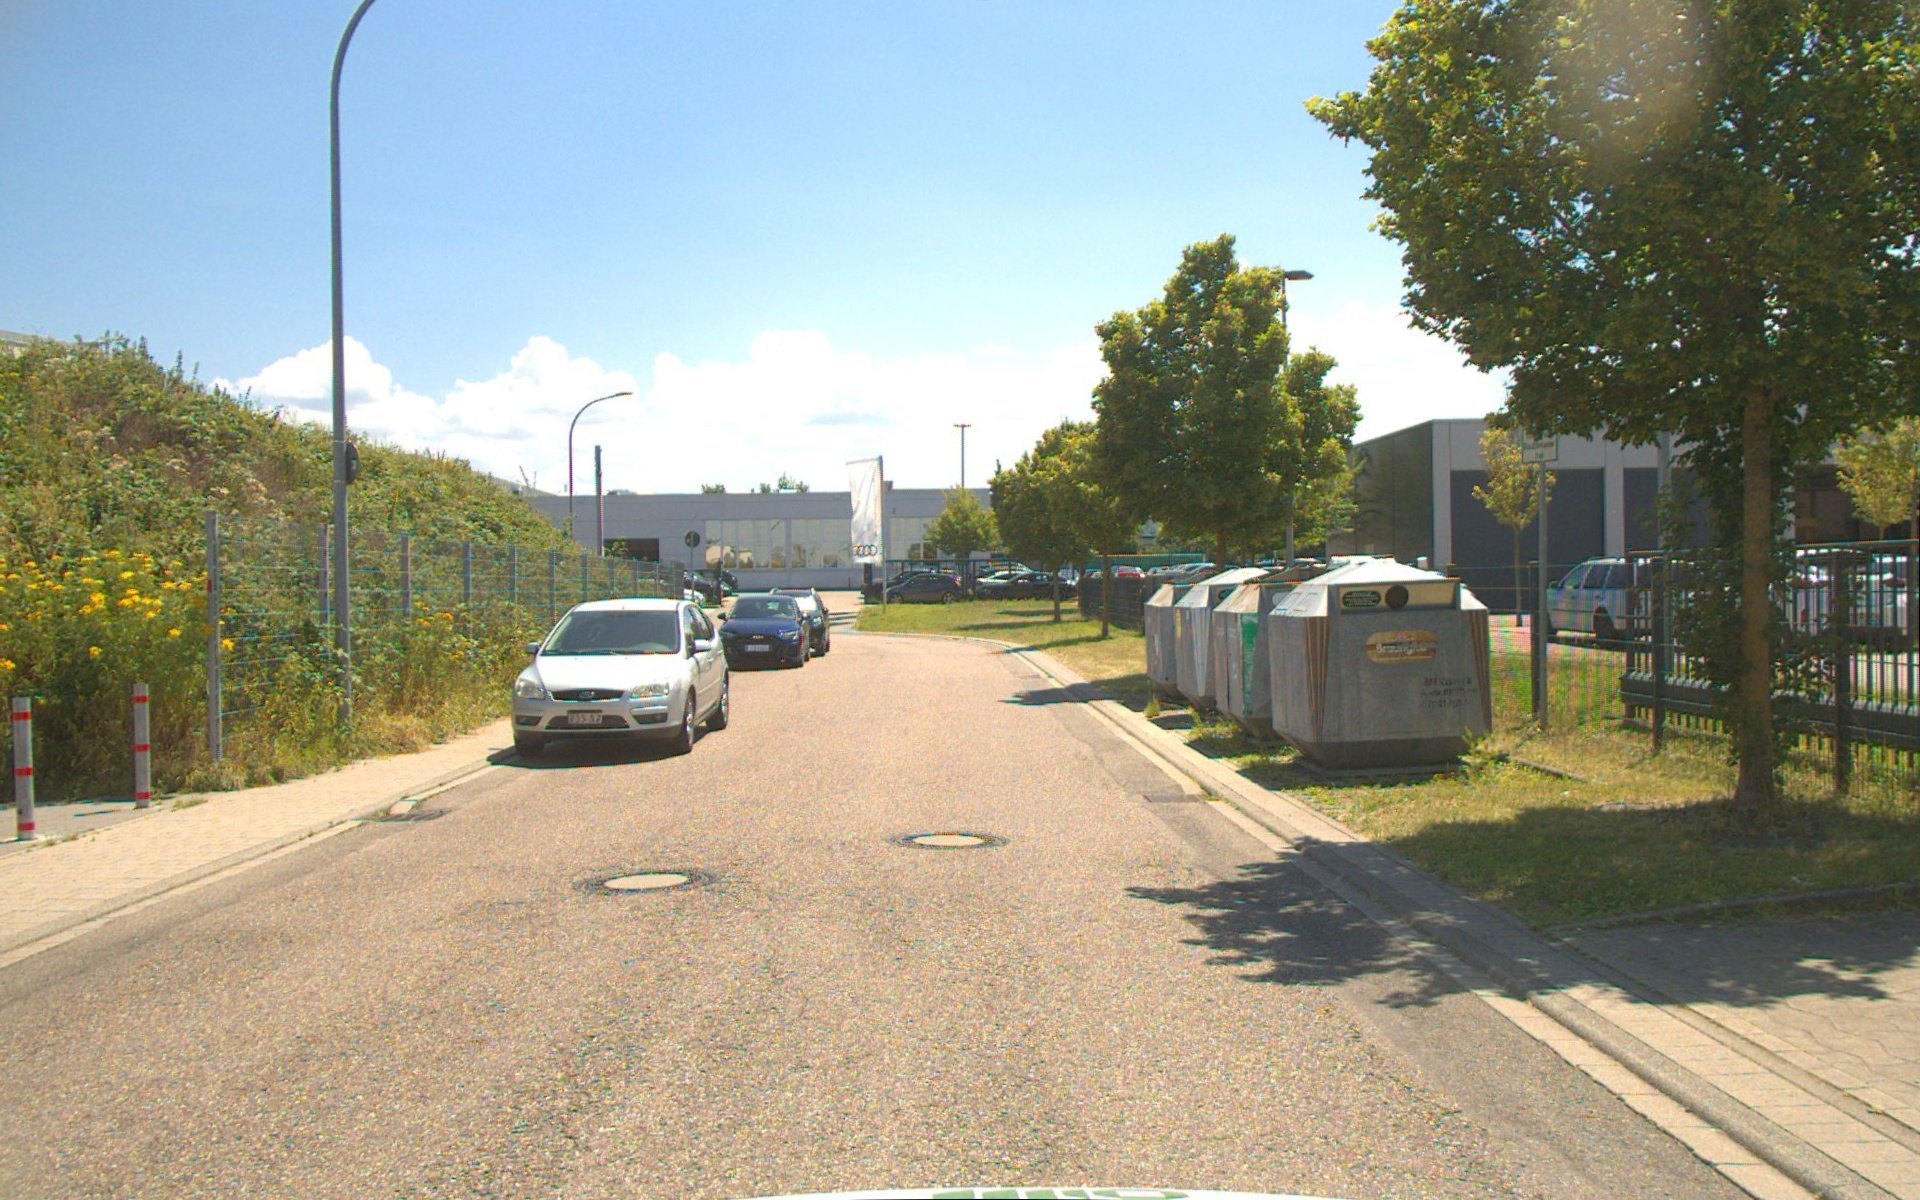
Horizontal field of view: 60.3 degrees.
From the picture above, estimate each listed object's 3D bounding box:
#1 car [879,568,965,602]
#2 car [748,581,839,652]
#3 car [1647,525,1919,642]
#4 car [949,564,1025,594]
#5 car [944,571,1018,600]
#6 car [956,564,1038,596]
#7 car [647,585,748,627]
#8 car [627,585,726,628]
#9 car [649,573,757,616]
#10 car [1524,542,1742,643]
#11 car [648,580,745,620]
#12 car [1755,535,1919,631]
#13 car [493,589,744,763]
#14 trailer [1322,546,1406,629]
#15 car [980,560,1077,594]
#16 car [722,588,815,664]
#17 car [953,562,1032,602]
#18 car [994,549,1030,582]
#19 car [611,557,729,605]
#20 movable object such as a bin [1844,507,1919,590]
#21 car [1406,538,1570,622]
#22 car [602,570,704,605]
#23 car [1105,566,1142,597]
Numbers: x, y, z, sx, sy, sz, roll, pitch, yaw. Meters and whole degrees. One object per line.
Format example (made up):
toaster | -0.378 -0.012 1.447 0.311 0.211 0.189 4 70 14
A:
car | -1.793 -0.677 77.183 3.907 1.423 1.999 -1 -2 -3
car | -3.966 0.369 39.996 1.796 1.573 4.264 -2 0 -1
car | 11.550 -0.168 23.360 1.754 1.458 4.139 -1 -1 -3
car | 1.410 -1.100 87.477 3.907 1.423 1.999 -1 -2 -3
car | 1.132 -0.778 90.889 3.907 1.423 1.999 -1 -2 -3
car | 1.825 -0.970 81.790 3.907 1.423 1.999 -1 -2 -3
car | -13.241 0.306 83.722 4.785 1.956 1.999 -2 1 -2
car | -13.822 0.299 80.907 4.494 1.956 1.999 -2 1 -2
car | -10.989 -0.225 70.898 4.349 1.655 1.999 -1 -2 -3
car | 11.462 -0.197 28.501 1.754 1.557 4.420 -1 2 -3
car | -13.963 -0.023 87.751 4.785 1.956 1.999 -2 1 -2
car | 15.800 -0.357 28.642 1.754 1.507 4.420 -1 2 -3
car | -3.476 0.697 17.652 1.796 1.573 4.366 -2 0 -1
trailer | 10.854 -0.366 44.646 1.462 2.041 3.265 -2 3 0
car | 3.179 -1.065 77.244 4.349 1.423 1.999 -1 -2 -3
car | -3.980 0.506 34.853 1.623 1.442 4.143 -2 0 -3
car | 1.671 -0.923 85.395 3.907 1.859 1.999 -1 -2 -3
car | 3.235 -2.130 103.610 1.953 1.859 3.998 -1 -1 -1
car | -13.711 -0.894 78.427 5.211 2.134 1.999 -2 1 -2
movable object such as a bin | 36.746 -1.940 61.559 3.470 3.046 7.316 -2 1 -3
car | 11.419 -0.380 36.077 1.843 1.549 4.464 -2 -2 -4
car | -14.094 -0.559 76.109 4.349 1.423 1.999 -1 -2 -3
car | 10.789 -1.203 109.402 1.953 1.859 3.998 -1 -1 -1
